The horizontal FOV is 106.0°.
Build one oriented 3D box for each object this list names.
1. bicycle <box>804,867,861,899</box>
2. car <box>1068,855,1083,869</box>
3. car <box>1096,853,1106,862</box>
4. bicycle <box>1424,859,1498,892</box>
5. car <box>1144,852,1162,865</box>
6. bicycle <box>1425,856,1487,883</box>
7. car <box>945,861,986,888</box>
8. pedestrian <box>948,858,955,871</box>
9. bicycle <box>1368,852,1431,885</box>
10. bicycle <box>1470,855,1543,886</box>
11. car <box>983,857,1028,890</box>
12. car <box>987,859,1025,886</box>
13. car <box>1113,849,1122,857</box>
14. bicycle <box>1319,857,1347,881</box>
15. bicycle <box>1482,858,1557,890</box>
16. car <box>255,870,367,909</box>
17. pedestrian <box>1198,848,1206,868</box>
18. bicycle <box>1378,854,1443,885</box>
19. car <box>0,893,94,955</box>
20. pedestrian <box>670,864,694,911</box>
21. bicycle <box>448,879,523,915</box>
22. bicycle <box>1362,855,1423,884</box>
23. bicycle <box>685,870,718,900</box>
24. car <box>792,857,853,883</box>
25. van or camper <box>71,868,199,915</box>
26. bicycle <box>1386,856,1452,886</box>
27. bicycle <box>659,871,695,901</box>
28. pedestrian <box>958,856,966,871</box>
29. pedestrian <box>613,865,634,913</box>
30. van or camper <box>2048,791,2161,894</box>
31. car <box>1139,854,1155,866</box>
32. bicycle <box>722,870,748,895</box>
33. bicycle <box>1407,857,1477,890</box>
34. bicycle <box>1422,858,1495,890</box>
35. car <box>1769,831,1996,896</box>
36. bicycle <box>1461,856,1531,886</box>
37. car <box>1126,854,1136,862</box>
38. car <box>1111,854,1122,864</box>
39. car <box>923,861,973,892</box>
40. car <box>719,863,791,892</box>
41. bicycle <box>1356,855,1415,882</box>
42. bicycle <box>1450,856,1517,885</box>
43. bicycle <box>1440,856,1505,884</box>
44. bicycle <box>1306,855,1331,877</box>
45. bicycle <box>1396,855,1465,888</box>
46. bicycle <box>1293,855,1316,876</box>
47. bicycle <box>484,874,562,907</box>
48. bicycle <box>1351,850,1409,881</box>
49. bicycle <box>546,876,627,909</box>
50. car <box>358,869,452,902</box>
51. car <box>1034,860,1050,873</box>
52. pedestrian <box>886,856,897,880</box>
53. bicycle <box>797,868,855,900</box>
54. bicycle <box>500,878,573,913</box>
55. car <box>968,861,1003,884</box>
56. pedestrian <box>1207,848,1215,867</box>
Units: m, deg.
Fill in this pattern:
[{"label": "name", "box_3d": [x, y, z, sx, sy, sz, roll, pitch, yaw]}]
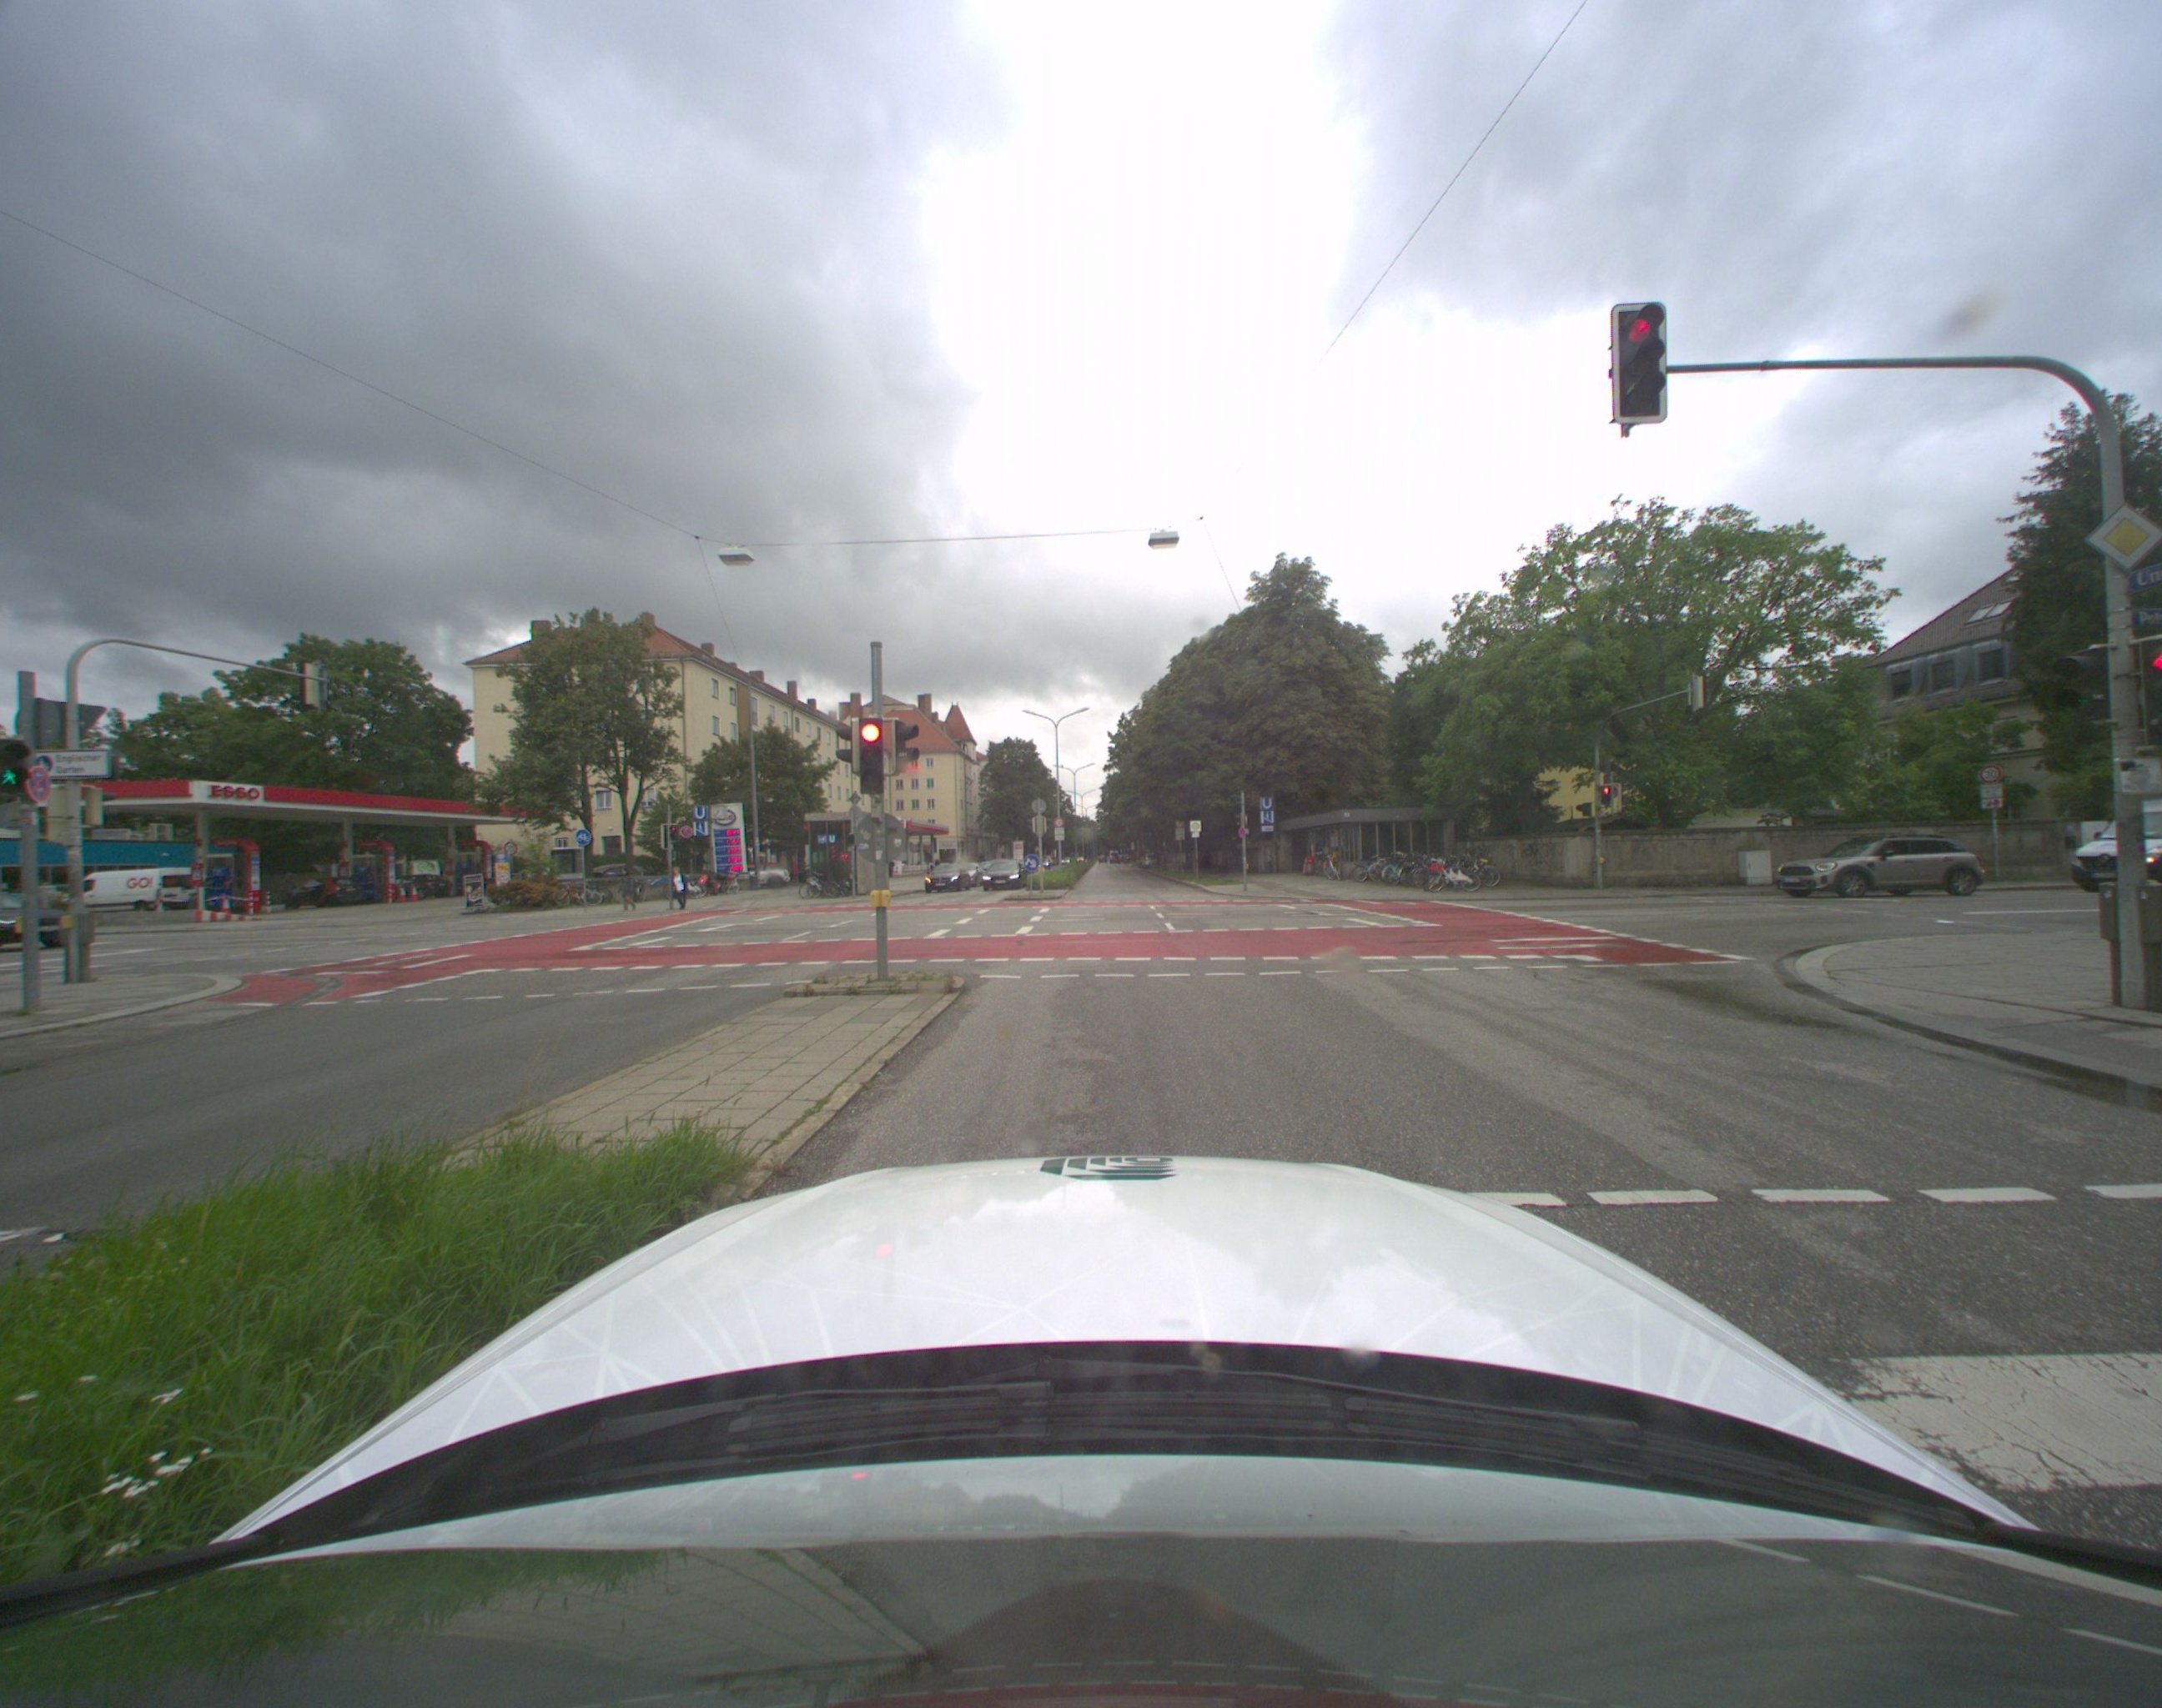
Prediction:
[{"label": "bicycle", "box_3d": [-10.979, 1.289, 36.064, 2.276, 1.304, 0.694, -2, 0, 2]}, {"label": "car", "box_3d": [-0.565, 0.809, 85.437, 1.463, 1.399, 3.701, -2, 0, 1]}, {"label": "car", "box_3d": [4.018, 0.687, 162.018, 1.850, 1.684, 4.001, -2, 0, 1]}, {"label": "bicycle", "box_3d": [12.511, 0.700, 26.864, 2.130, 1.014, 0.604, -2, 0, 9]}, {"label": "car", "box_3d": [7.918, 0.505, 89.656, 1.737, 1.363, 3.807, -2, 0, 1]}, {"label": "bicycle", "box_3d": [14.931, 0.623, 32.472, 2.130, 1.014, 0.636, -2, 0, 9]}, {"label": "car", "box_3d": [-6.809, 1.178, 48.507, 1.753, 1.460, 4.001, -2, 0, 1]}, {"label": "pedestrian", "box_3d": [-16.035, 1.283, 100.794, 0.693, 1.638, 0.738, -2, 0, 1]}, {"label": "bicycle", "box_3d": [12.168, 0.541, 31.140, 2.130, 1.178, 0.604, -2, 0, 9]}, {"label": "bicycle", "box_3d": [14.890, 0.590, 28.543, 2.130, 1.014, 0.636, -2, 0, 9]}, {"label": "car", "box_3d": [-3.738, 0.958, 40.764, 1.753, 1.493, 4.001, -2, 0, 1]}, {"label": "car", "box_3d": [-4.431, 1.056, 48.457, 1.753, 1.493, 4.001, -2, 0, 1]}, {"label": "car", "box_3d": [8.231, -0.237, 183.351, 1.986, 1.756, 4.001, -2, 0, 1]}, {"label": "bicycle", "box_3d": [11.128, 0.629, 35.980, 0.555, 1.014, 2.015, -2, 0, 0]}, {"label": "bicycle", "box_3d": [14.921, 0.684, 27.744, 2.130, 1.014, 0.636, -2, 0, 9]}, {"label": "car", "box_3d": [-39.652, 1.806, 42.020, 3.973, 1.784, 1.858, -2, 0, 1]}, {"label": "pedestrian", "box_3d": [10.819, 0.348, 72.642, 0.674, 1.682, 0.684, -2, 0, 7]}, {"label": "bicycle", "box_3d": [12.280, 0.583, 30.400, 2.130, 1.086, 0.604, -2, 0, 9]}, {"label": "car", "box_3d": [-27.714, 1.782, 20.614, 3.532, 1.412, 1.666, -2, 0, 3]}, {"label": "pedestrian", "box_3d": [-14.621, 1.226, 29.831, 0.532, 1.695, 0.578, -2, 0, 4]}, {"label": "bicycle", "box_3d": [-22.832, 1.645, 31.249, 2.179, 1.236, 0.764, -2, 0, -8]}, {"label": "bicycle", "box_3d": [12.160, 0.605, 31.842, 2.130, 1.062, 0.604, -2, 0, 9]}, {"label": "bicycle", "box_3d": [-17.185, 1.378, 36.891, 0.607, 1.236, 2.183, -2, 0, -5]}, {"label": "car", "box_3d": [-19.832, 1.236, 62.606, 3.976, 1.838, 1.879, -2, 0, -2]}, {"label": "van or camper", "box_3d": [-51.893, 2.026, 44.753, 4.526, 2.323, 1.917, -2, 0, -3]}, {"label": "bicycle", "box_3d": [12.300, 0.615, 29.669, 2.130, 1.014, 0.604, -2, 0, 9]}, {"label": "bicycle", "box_3d": [-17.865, 1.395, 36.076, 0.607, 1.236, 2.183, -2, 0, -5]}, {"label": "pedestrian", "box_3d": [-13.577, 1.067, 93.154, 0.693, 1.638, 0.738, -2, 0, 1]}, {"label": "pedestrian", "box_3d": [-16.450, 1.258, 29.283, 0.593, 1.695, 0.571, -2, 0, -29]}, {"label": "van or camper", "box_3d": [28.580, -0.357, 20.582, 5.529, 2.469, 2.069, -2, 0, 3]}, {"label": "car", "box_3d": [8.106, 0.692, 99.811, 1.737, 1.363, 3.807, -2, 0, 1]}, {"label": "bicycle", "box_3d": [-17.410, 1.424, 41.044, 0.607, 1.145, 1.962, -2, 0, -5]}, {"label": "bicycle", "box_3d": [12.529, 0.668, 28.294, 2.130, 1.071, 0.604, -2, 0, 9]}, {"label": "bicycle", "box_3d": [12.728, 0.685, 27.484, 2.130, 1.014, 0.636, -2, 0, 9]}, {"label": "car", "box_3d": [20.822, 0.246, 21.292, 4.150, 1.514, 1.697, -2, 0, 3]}, {"label": "bicycle", "box_3d": [14.918, 0.598, 29.310, 2.130, 1.014, 0.636, -2, 0, 9]}, {"label": "car", "box_3d": [9.825, 0.788, 159.320, 1.737, 1.427, 3.900, -2, 0, 1]}, {"label": "car", "box_3d": [6.476, 0.899, 148.687, 1.916, 1.684, 4.001, -2, 0, 1]}, {"label": "car", "box_3d": [-6.761, 1.118, 41.749, 1.753, 1.460, 4.001, -2, 0, 1]}, {"label": "car", "box_3d": [-20.147, 1.407, 50.469, 3.966, 1.608, 1.805, -2, 0, -19]}, {"label": "bicycle", "box_3d": [12.213, 0.594, 32.723, 2.130, 1.014, 0.604, -2, 0, 9]}, {"label": "bicycle", "box_3d": [14.859, 0.603, 30.106, 2.130, 1.014, 0.636, -2, 0, 9]}, {"label": "bicycle", "box_3d": [14.828, 0.608, 30.892, 2.130, 1.014, 0.636, -2, 0, 9]}, {"label": "bicycle", "box_3d": [11.256, 0.540, 38.713, 0.555, 1.014, 2.015, -2, 0, 0]}, {"label": "bicycle", "box_3d": [12.408, 0.603, 28.952, 2.130, 1.101, 0.604, -2, 0, 9]}, {"label": "bicycle", "box_3d": [11.549, 0.573, 42.120, 0.555, 1.014, 2.015, -2, 0, 0]}, {"label": "bicycle", "box_3d": [-21.886, 1.415, 31.960, 2.394, 1.251, 0.789, 0, -1, -10]}, {"label": "bicycle", "box_3d": [12.265, 0.464, 33.437, 2.130, 1.218, 0.604, -2, 0, 9]}, {"label": "bicycle", "box_3d": [-19.592, 1.501, 32.358, 2.720, 1.251, 0.786, 0, -1, -29]}, {"label": "car", "box_3d": [-40.313, 1.864, 48.631, 3.973, 1.784, 1.858, -2, 0, 1]}, {"label": "car", "box_3d": [-5.069, 1.633, 107.124, 1.753, 1.493, 4.001, -2, 0, 1]}, {"label": "pedestrian", "box_3d": [-16.232, 1.219, 69.750, 0.727, 2.014, 0.835, 0, -1, 1]}, {"label": "bicycle", "box_3d": [-11.025, 1.299, 35.285, 2.262, 1.304, 0.704, -2, 0, 2]}, {"label": "bicycle", "box_3d": [-20.898, 1.574, 31.301, 2.180, 1.236, 0.763, -2, 0, -10]}, {"label": "car", "box_3d": [-6.462, 1.237, 55.464, 1.753, 1.460, 4.001, -2, 0, 1]}, {"label": "pedestrian", "box_3d": [11.624, 0.338, 72.669, 0.674, 1.682, 0.684, -2, 0, 7]}]
